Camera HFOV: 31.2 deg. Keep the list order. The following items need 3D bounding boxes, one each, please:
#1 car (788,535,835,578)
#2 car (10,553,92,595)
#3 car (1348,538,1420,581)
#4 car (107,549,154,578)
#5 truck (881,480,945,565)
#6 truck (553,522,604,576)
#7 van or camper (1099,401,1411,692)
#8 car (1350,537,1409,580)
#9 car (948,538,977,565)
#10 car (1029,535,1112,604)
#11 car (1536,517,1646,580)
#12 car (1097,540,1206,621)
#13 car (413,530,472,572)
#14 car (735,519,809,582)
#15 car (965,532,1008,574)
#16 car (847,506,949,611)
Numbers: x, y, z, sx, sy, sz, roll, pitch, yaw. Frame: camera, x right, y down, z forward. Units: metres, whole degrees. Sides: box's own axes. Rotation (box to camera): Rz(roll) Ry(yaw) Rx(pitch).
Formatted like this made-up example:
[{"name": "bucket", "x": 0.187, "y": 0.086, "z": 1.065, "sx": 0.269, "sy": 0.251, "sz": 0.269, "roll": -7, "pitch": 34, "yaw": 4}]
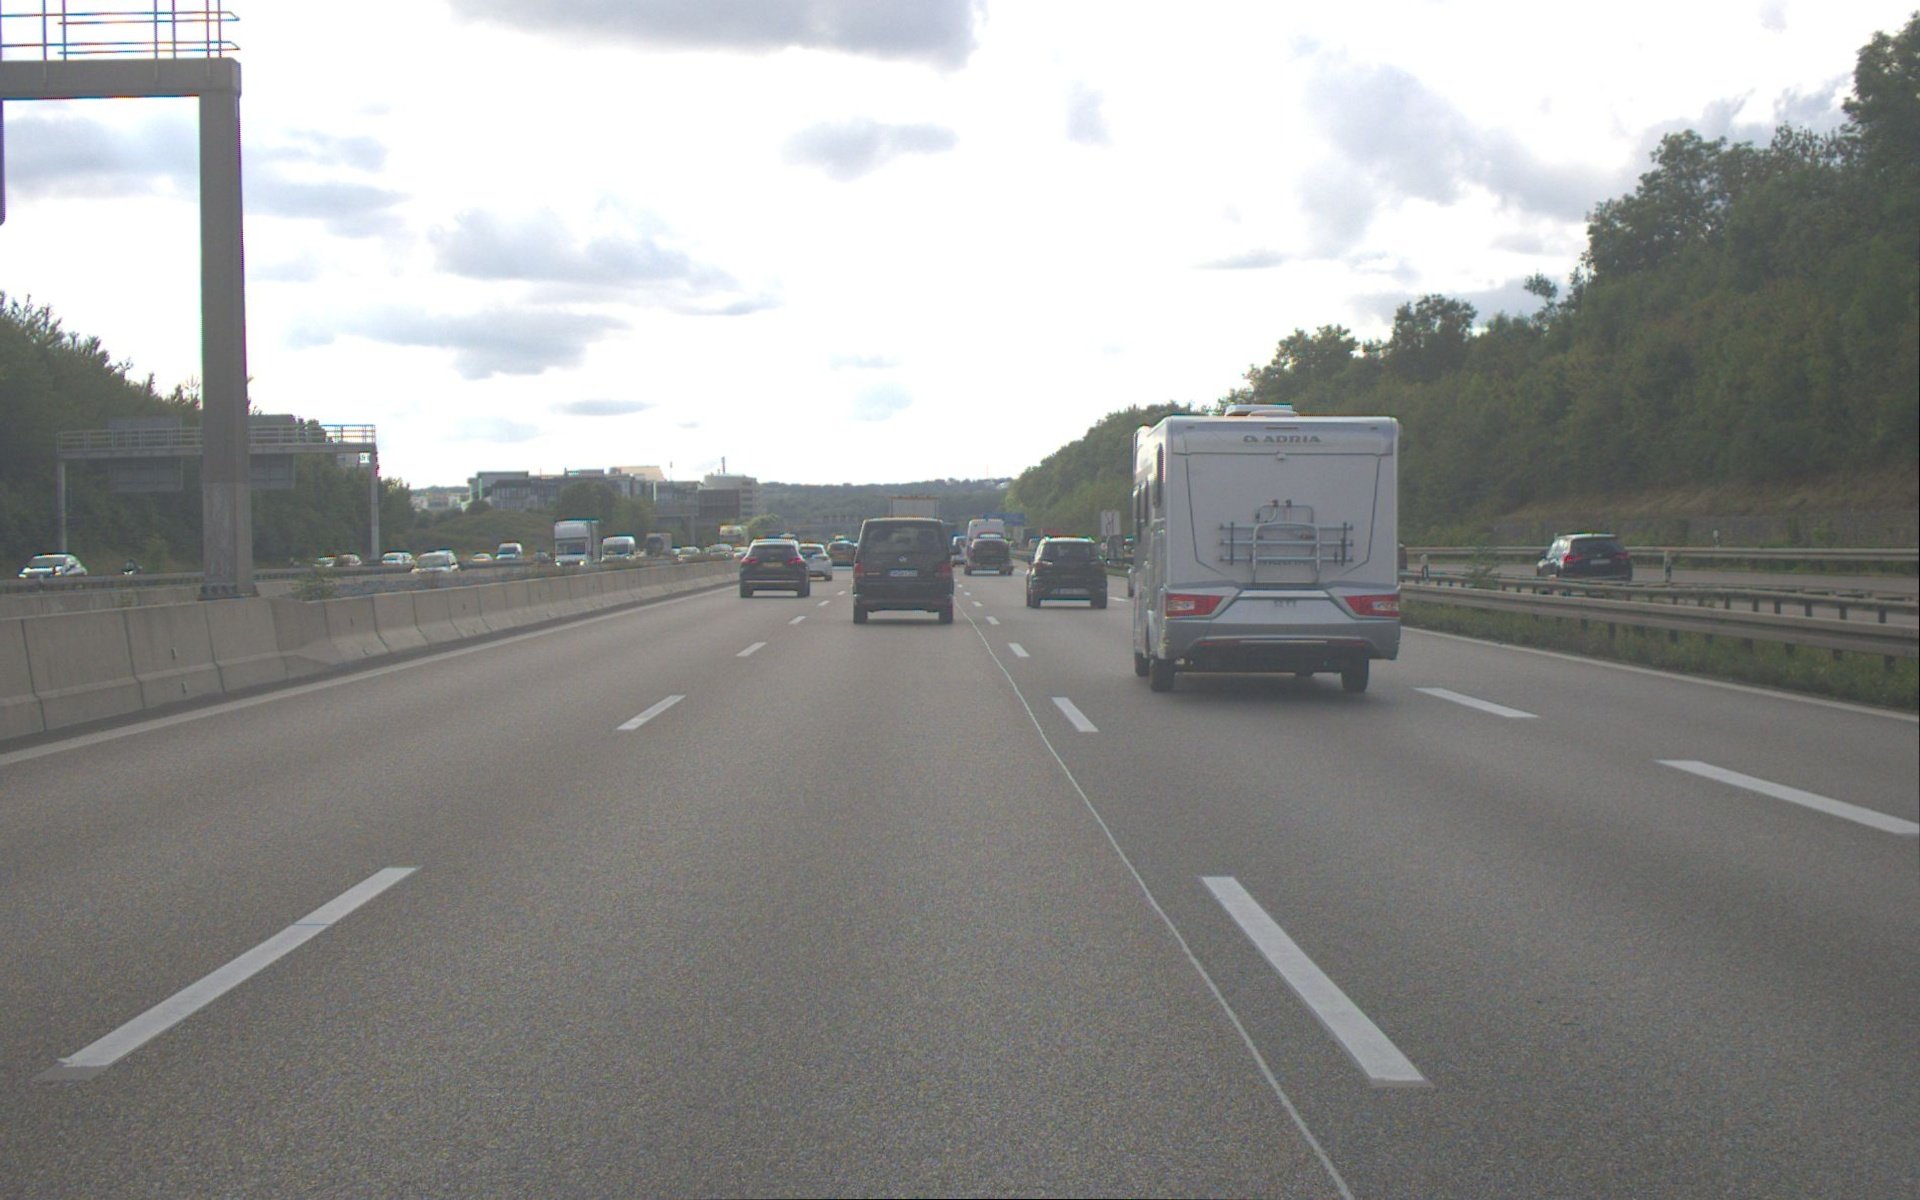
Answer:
[{"name": "car", "x": -5.612, "y": -1.672, "z": 130.522, "sx": 1.697, "sy": 1.605, "sz": 4.114, "roll": 0, "pitch": 1, "yaw": -2}, {"name": "car", "x": -36.096, "y": -1.044, "z": 136.636, "sx": 1.993, "sy": 1.587, "sz": 4.768, "roll": -1, "pitch": 1, "yaw": 0}, {"name": "car", "x": 15.398, "y": -1.480, "z": 125.124, "sx": 1.843, "sy": 1.479, "sz": 4.526, "roll": -2, "pitch": 1, "yaw": -2}, {"name": "car", "x": -44.241, "y": -1.936, "z": 183.396, "sx": 1.591, "sy": 1.489, "sz": 4.181, "roll": -1, "pitch": 1, "yaw": -2}, {"name": "truck", "x": -2.532, "y": -4.081, "z": 183.381, "sx": 3.263, "sy": 4.360, "sz": 11.027, "roll": 1, "pitch": 1, "yaw": -1}, {"name": "truck", "x": -23.405, "y": -3.147, "z": 211.232, "sx": 2.353, "sy": 3.252, "sz": 7.826, "roll": -1, "pitch": 1, "yaw": -1}, {"name": "van or camper", "x": 2.938, "y": -0.569, "z": 36.280, "sx": 2.468, "sy": 2.712, "sz": 7.662, "roll": 1, "pitch": 1, "yaw": -1}, {"name": "car", "x": 15.204, "y": -1.520, "z": 124.707, "sx": 1.541, "sy": 1.479, "sz": 3.942, "roll": -2, "pitch": 1, "yaw": -1}, {"name": "car", "x": 0.164, "y": -3.040, "z": 215.981, "sx": 1.752, "sy": 1.689, "sz": 4.190, "roll": 0, "pitch": 1, "yaw": -1}, {"name": "car", "x": 2.554, "y": -0.732, "z": 80.295, "sx": 1.697, "sy": 1.559, "sz": 4.114, "roll": 0, "pitch": 1, "yaw": -2}, {"name": "car", "x": 15.873, "y": -1.313, "z": 86.645, "sx": 1.843, "sy": 1.479, "sz": 4.526, "roll": -2, "pitch": 1, "yaw": -1}, {"name": "car", "x": 3.569, "y": -0.384, "z": 64.740, "sx": 1.720, "sy": 1.474, "sz": 4.392, "roll": 0, "pitch": 1, "yaw": -1}, {"name": "car", "x": -22.536, "y": -2.143, "z": 149.758, "sx": 1.834, "sy": 1.780, "sz": 5.504, "roll": -1, "pitch": 1, "yaw": -1}, {"name": "car", "x": -5.145, "y": -1.368, "z": 94.633, "sx": 1.873, "sy": 1.692, "sz": 4.072, "roll": 0, "pitch": 1, "yaw": -1}, {"name": "car", "x": 1.213, "y": -2.191, "z": 160.140, "sx": 1.913, "sy": 1.912, "sz": 4.031, "roll": 0, "pitch": 1, "yaw": -1}, {"name": "car", "x": -1.167, "y": -0.796, "z": 64.713, "sx": 1.855, "sy": 1.904, "sz": 4.260, "roll": 0, "pitch": 1, "yaw": -1}]
